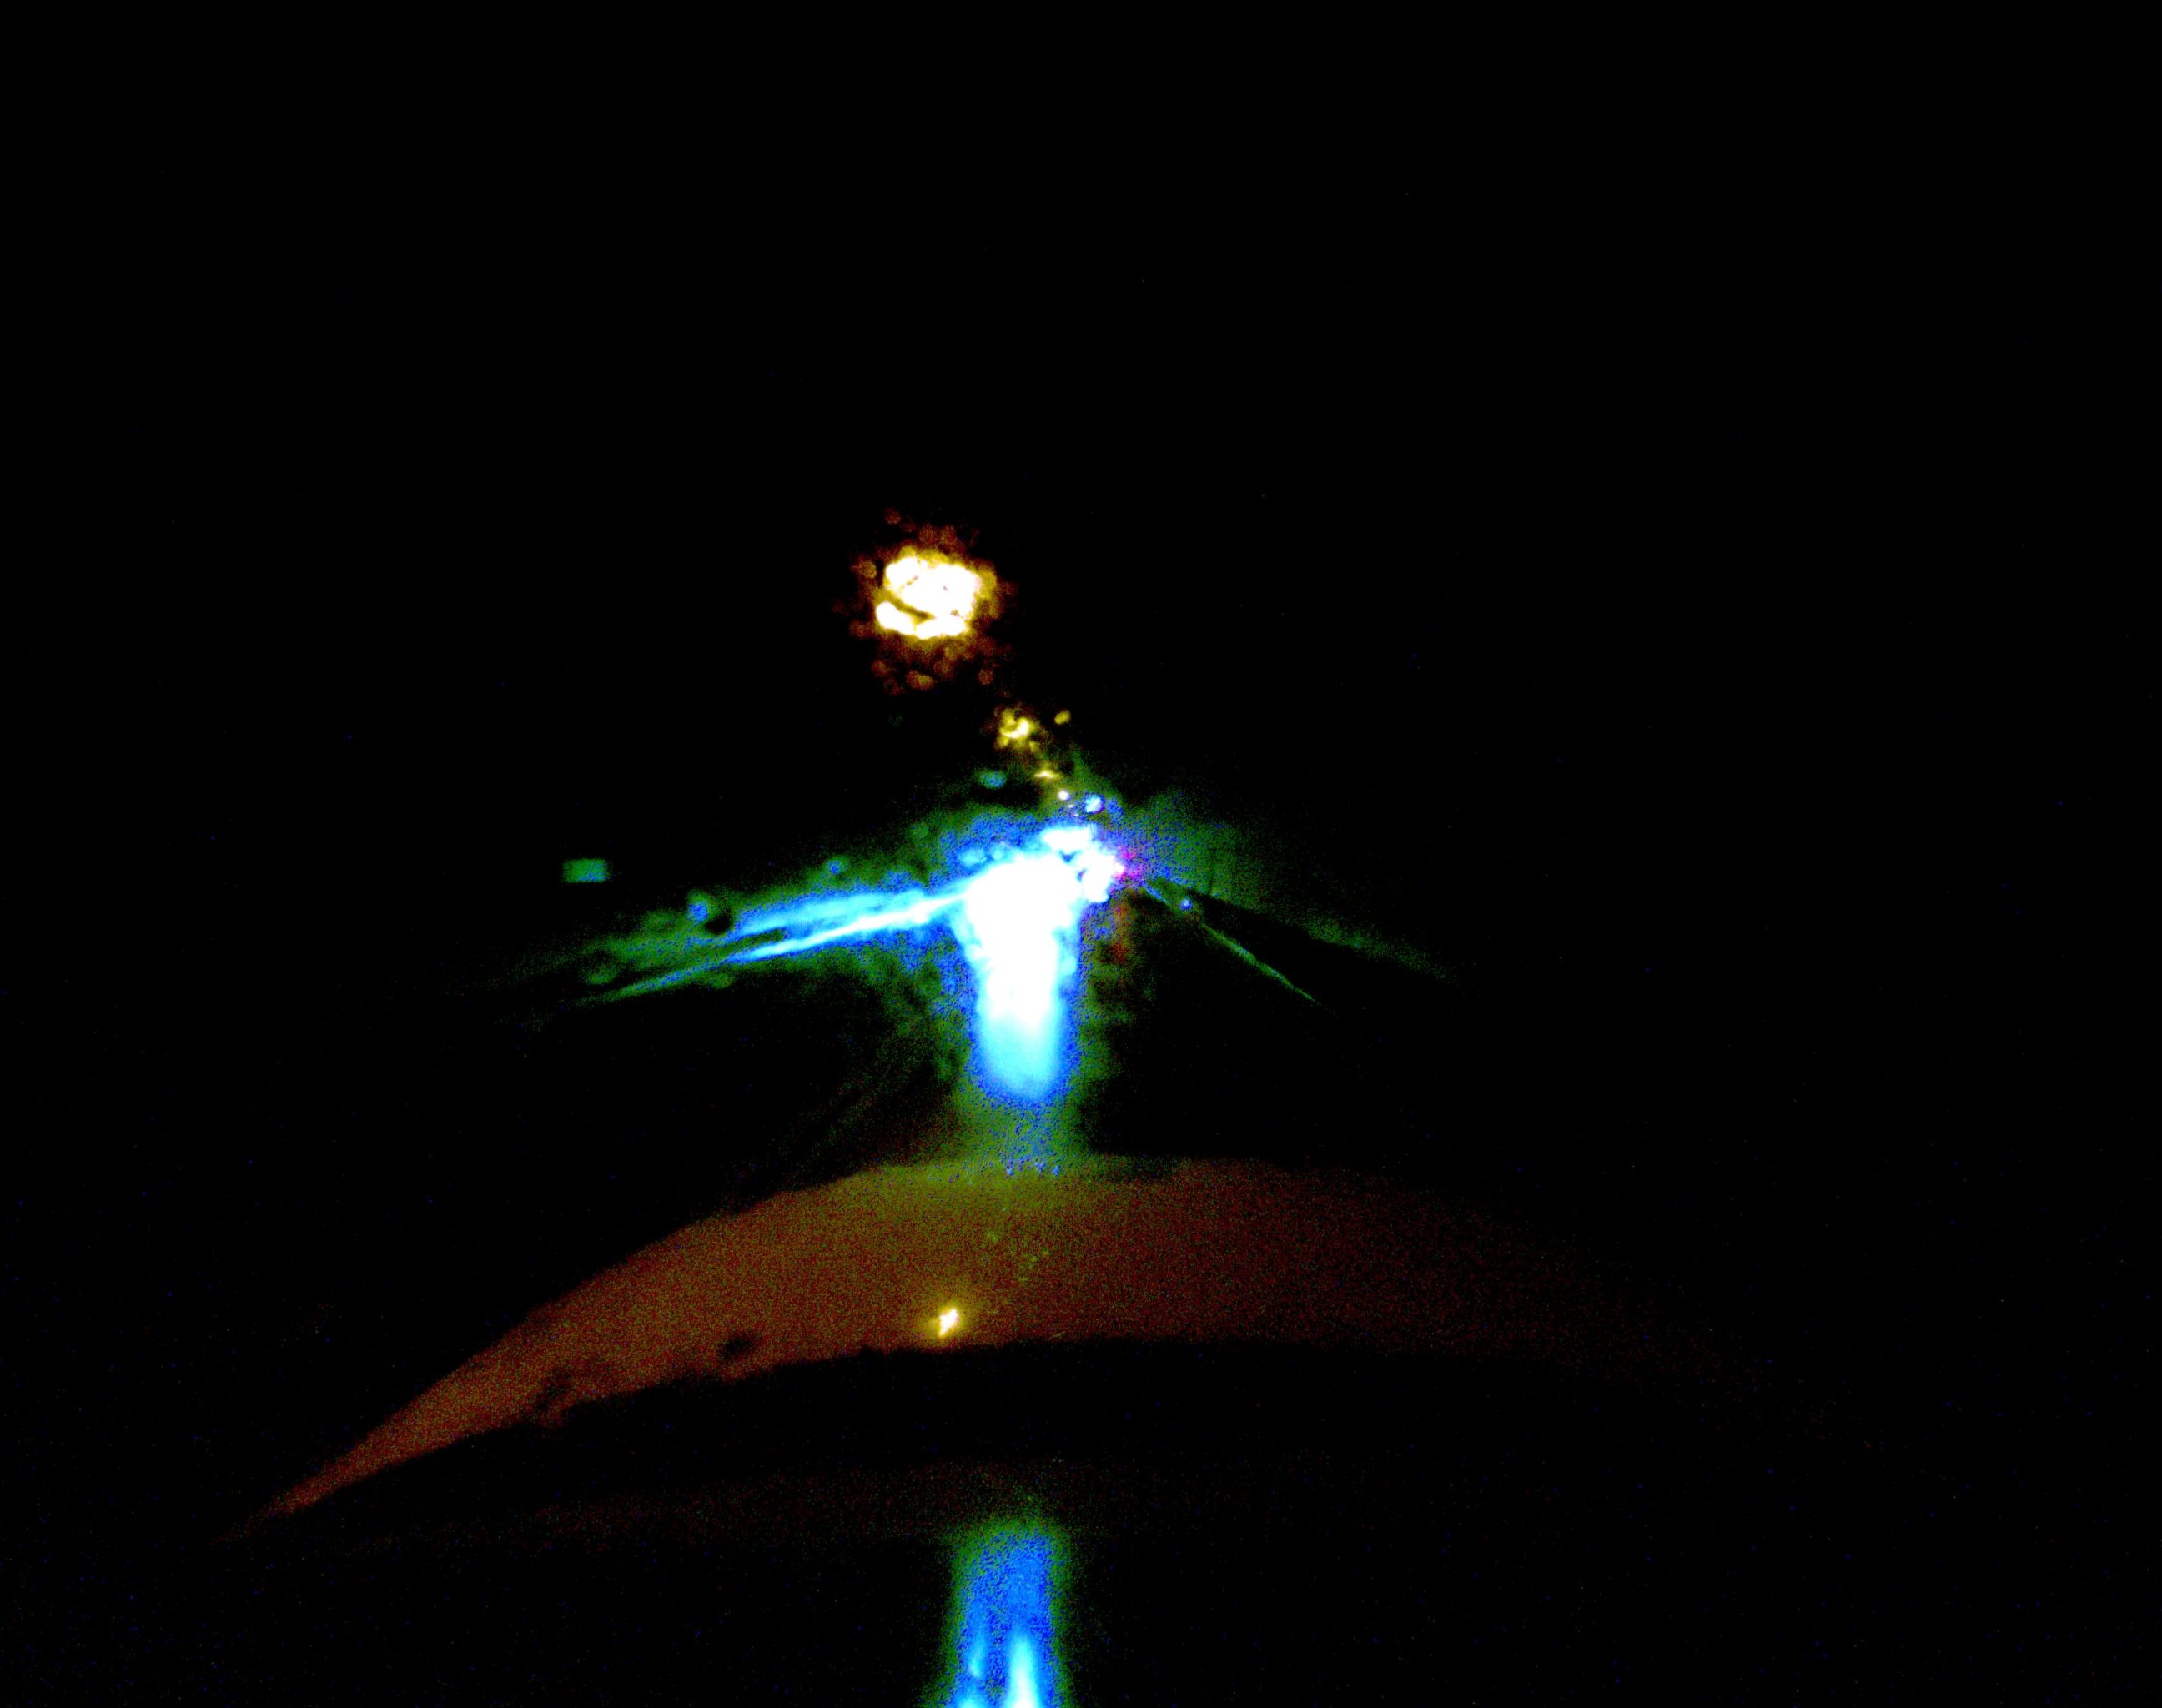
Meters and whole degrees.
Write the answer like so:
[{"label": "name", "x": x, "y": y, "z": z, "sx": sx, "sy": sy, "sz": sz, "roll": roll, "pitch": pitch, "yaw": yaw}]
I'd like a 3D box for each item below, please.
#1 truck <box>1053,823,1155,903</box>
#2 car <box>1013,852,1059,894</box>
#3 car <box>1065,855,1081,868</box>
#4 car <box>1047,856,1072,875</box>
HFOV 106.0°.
[{"label": "truck", "x": 0.954, "y": 0.339, "z": 33.388, "sx": 3.522, "sy": 2.693, "sz": 8.959, "roll": -2, "pitch": 0, "yaw": 2}, {"label": "car", "x": -1.799, "y": 0.736, "z": 33.589, "sx": 1.563, "sy": 1.632, "sz": 3.731, "roll": 0, "pitch": 0, "yaw": 2}, {"label": "car", "x": -0.958, "y": 0.857, "z": 96.075, "sx": 1.753, "sy": 1.480, "sz": 3.887, "roll": -1, "pitch": 0, "yaw": 1}, {"label": "car", "x": -1.703, "y": 0.894, "z": 66.171, "sx": 1.728, "sy": 1.441, "sz": 3.838, "roll": -1, "pitch": 0, "yaw": 2}]
